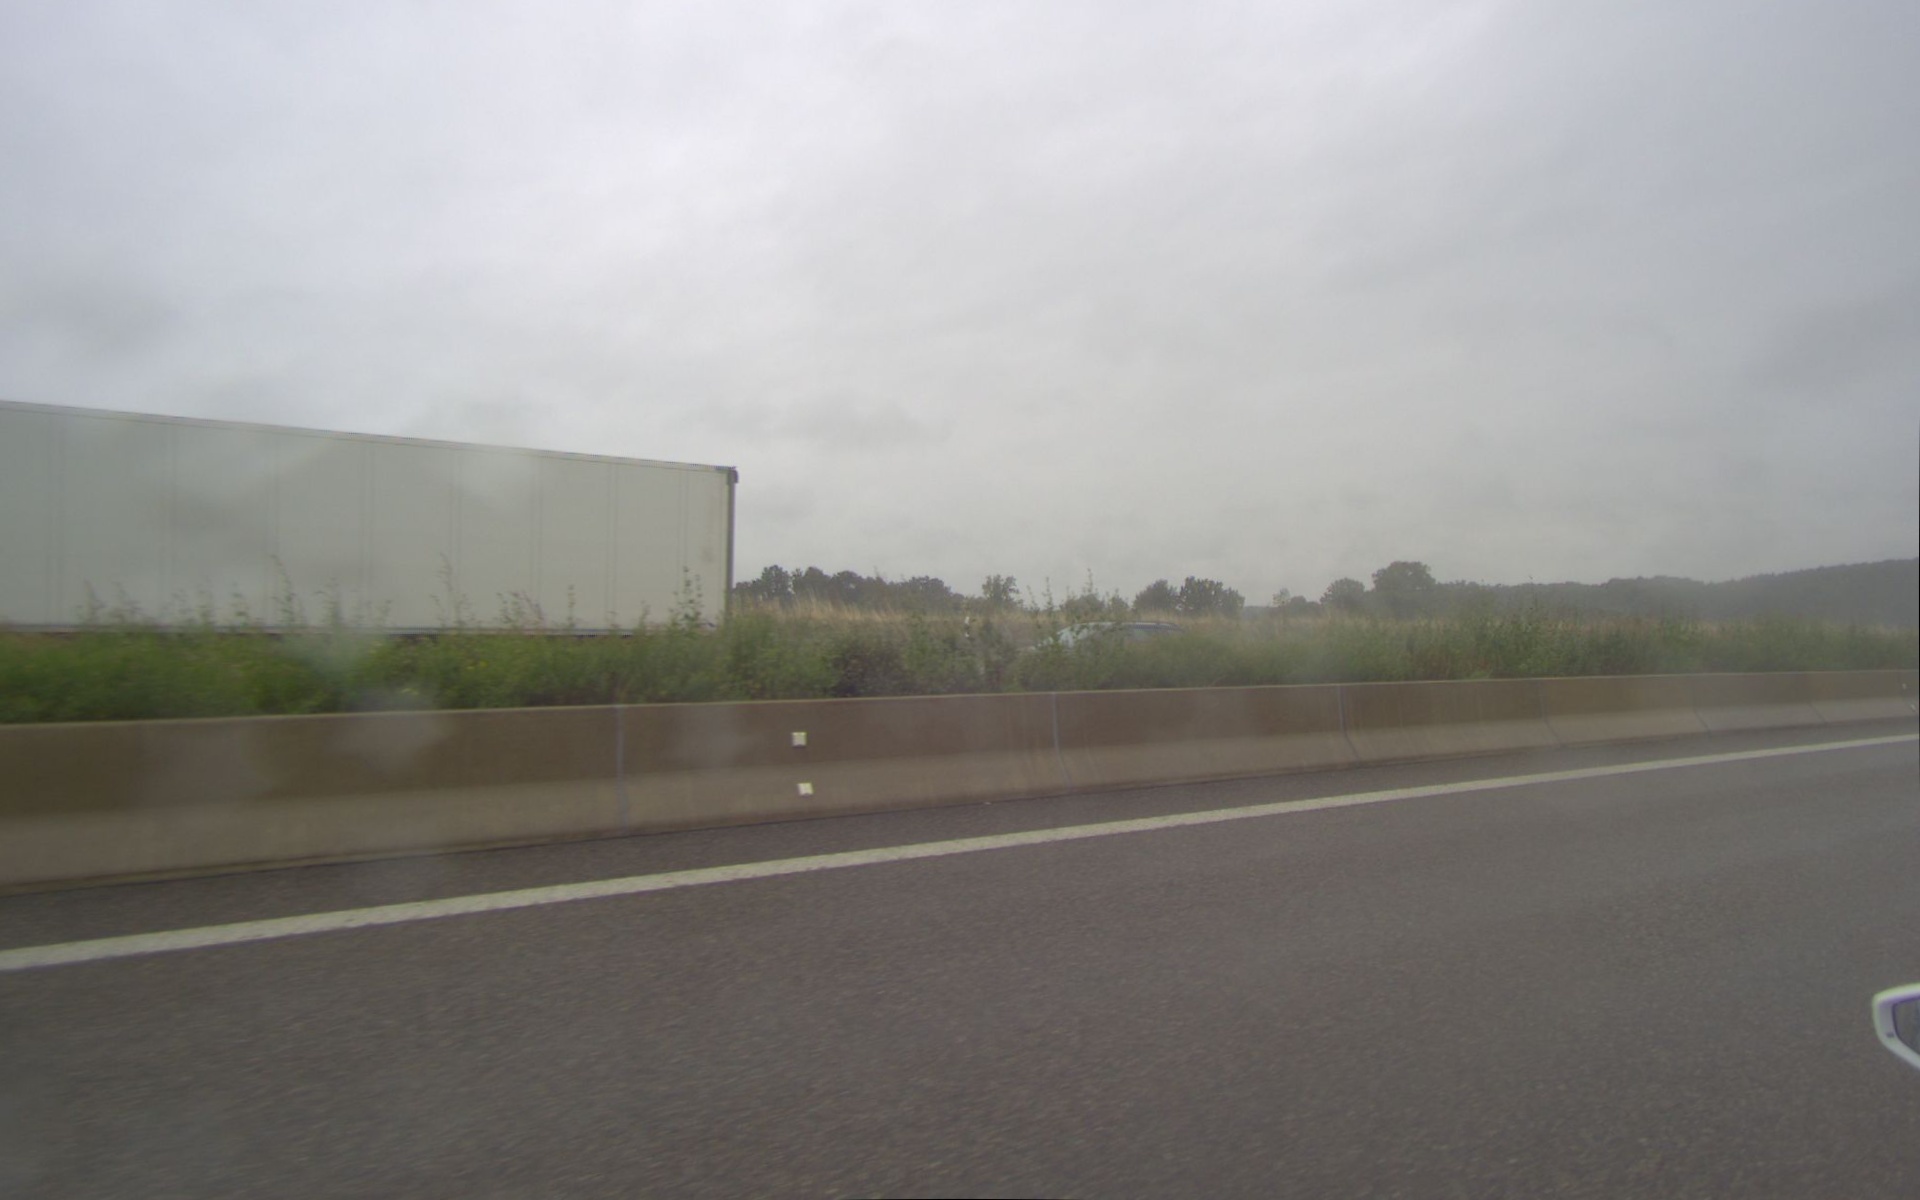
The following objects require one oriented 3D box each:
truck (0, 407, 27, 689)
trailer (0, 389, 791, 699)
[{"bbox_3d":[-16.275,-0.799,12.554,6.143,4.047,2.939,1,0,-30],"label":"truck"},{"bbox_3d":[-9.967,-0.645,16.187,14.134,4.035,2.931,1,0,-30],"label":"trailer"}]
